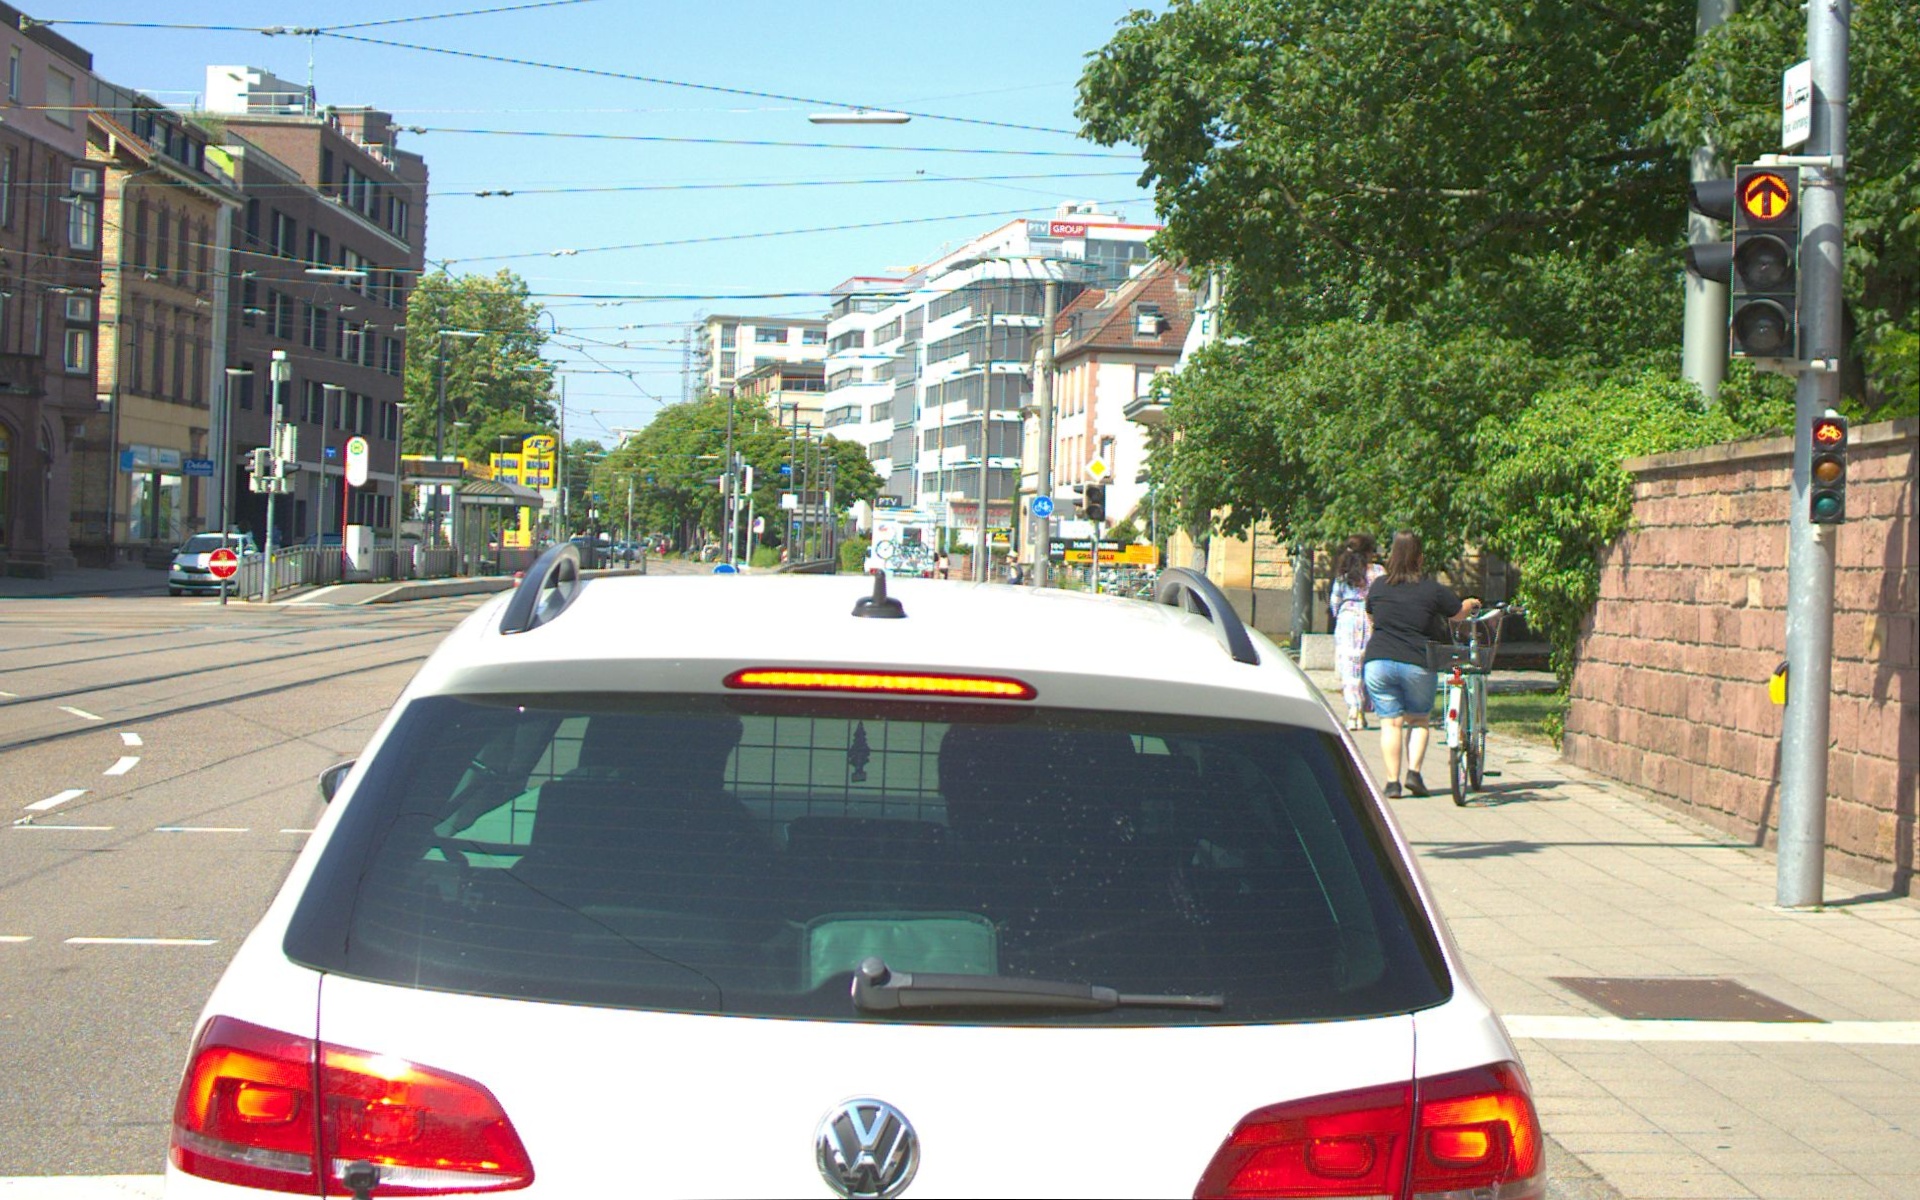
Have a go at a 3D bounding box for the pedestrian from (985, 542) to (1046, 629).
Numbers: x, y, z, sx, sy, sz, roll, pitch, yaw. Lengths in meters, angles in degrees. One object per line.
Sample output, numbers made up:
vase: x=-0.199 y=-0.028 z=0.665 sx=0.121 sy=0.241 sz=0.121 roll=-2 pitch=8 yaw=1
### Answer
pedestrian: x=1.118 y=-0.292 z=69.470 sx=0.973 sy=1.737 sz=0.863 roll=0 pitch=0 yaw=24

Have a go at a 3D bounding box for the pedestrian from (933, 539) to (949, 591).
pedestrian: x=-0.857 y=-1.590 z=155.643 sx=0.690 sy=2.317 sz=1.232 roll=0 pitch=0 yaw=1

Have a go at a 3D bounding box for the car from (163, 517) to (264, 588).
car: x=-17.464 y=-1.090 z=80.541 sx=1.740 sy=1.612 sz=4.000 roll=0 pitch=0 yaw=-4

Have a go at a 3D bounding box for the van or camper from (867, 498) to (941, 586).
van or camper: x=-2.057 y=-2.079 z=124.725 sx=2.566 sy=3.082 sz=5.703 roll=0 pitch=0 yaw=-2

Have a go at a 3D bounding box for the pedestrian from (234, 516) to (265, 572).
pedestrian: x=-22.496 y=-1.763 z=108.846 sx=0.861 sy=1.737 sz=0.975 roll=0 pitch=0 yaw=-6

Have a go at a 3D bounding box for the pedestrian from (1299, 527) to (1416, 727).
pedestrian: x=3.332 y=0.219 z=28.879 sx=0.953 sy=1.645 sz=0.975 roll=0 pitch=0 yaw=6

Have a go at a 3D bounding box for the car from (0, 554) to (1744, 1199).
car: x=-0.165 y=0.680 z=5.449 sx=1.808 sy=1.443 sz=4.000 roll=1 pitch=1 yaw=-1

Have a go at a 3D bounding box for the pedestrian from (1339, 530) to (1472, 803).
pedestrian: x=2.645 y=0.378 z=20.356 sx=0.673 sy=1.566 sz=0.748 roll=1 pitch=2 yaw=14

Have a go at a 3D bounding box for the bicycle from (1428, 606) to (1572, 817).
bicycle: x=3.206 y=0.625 z=20.294 sx=0.708 sy=1.086 sz=2.025 roll=1 pitch=3 yaw=12

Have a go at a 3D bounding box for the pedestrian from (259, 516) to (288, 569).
pedestrian: x=-23.121 y=-1.935 z=115.720 sx=0.861 sy=1.737 sz=0.975 roll=0 pitch=0 yaw=-6
